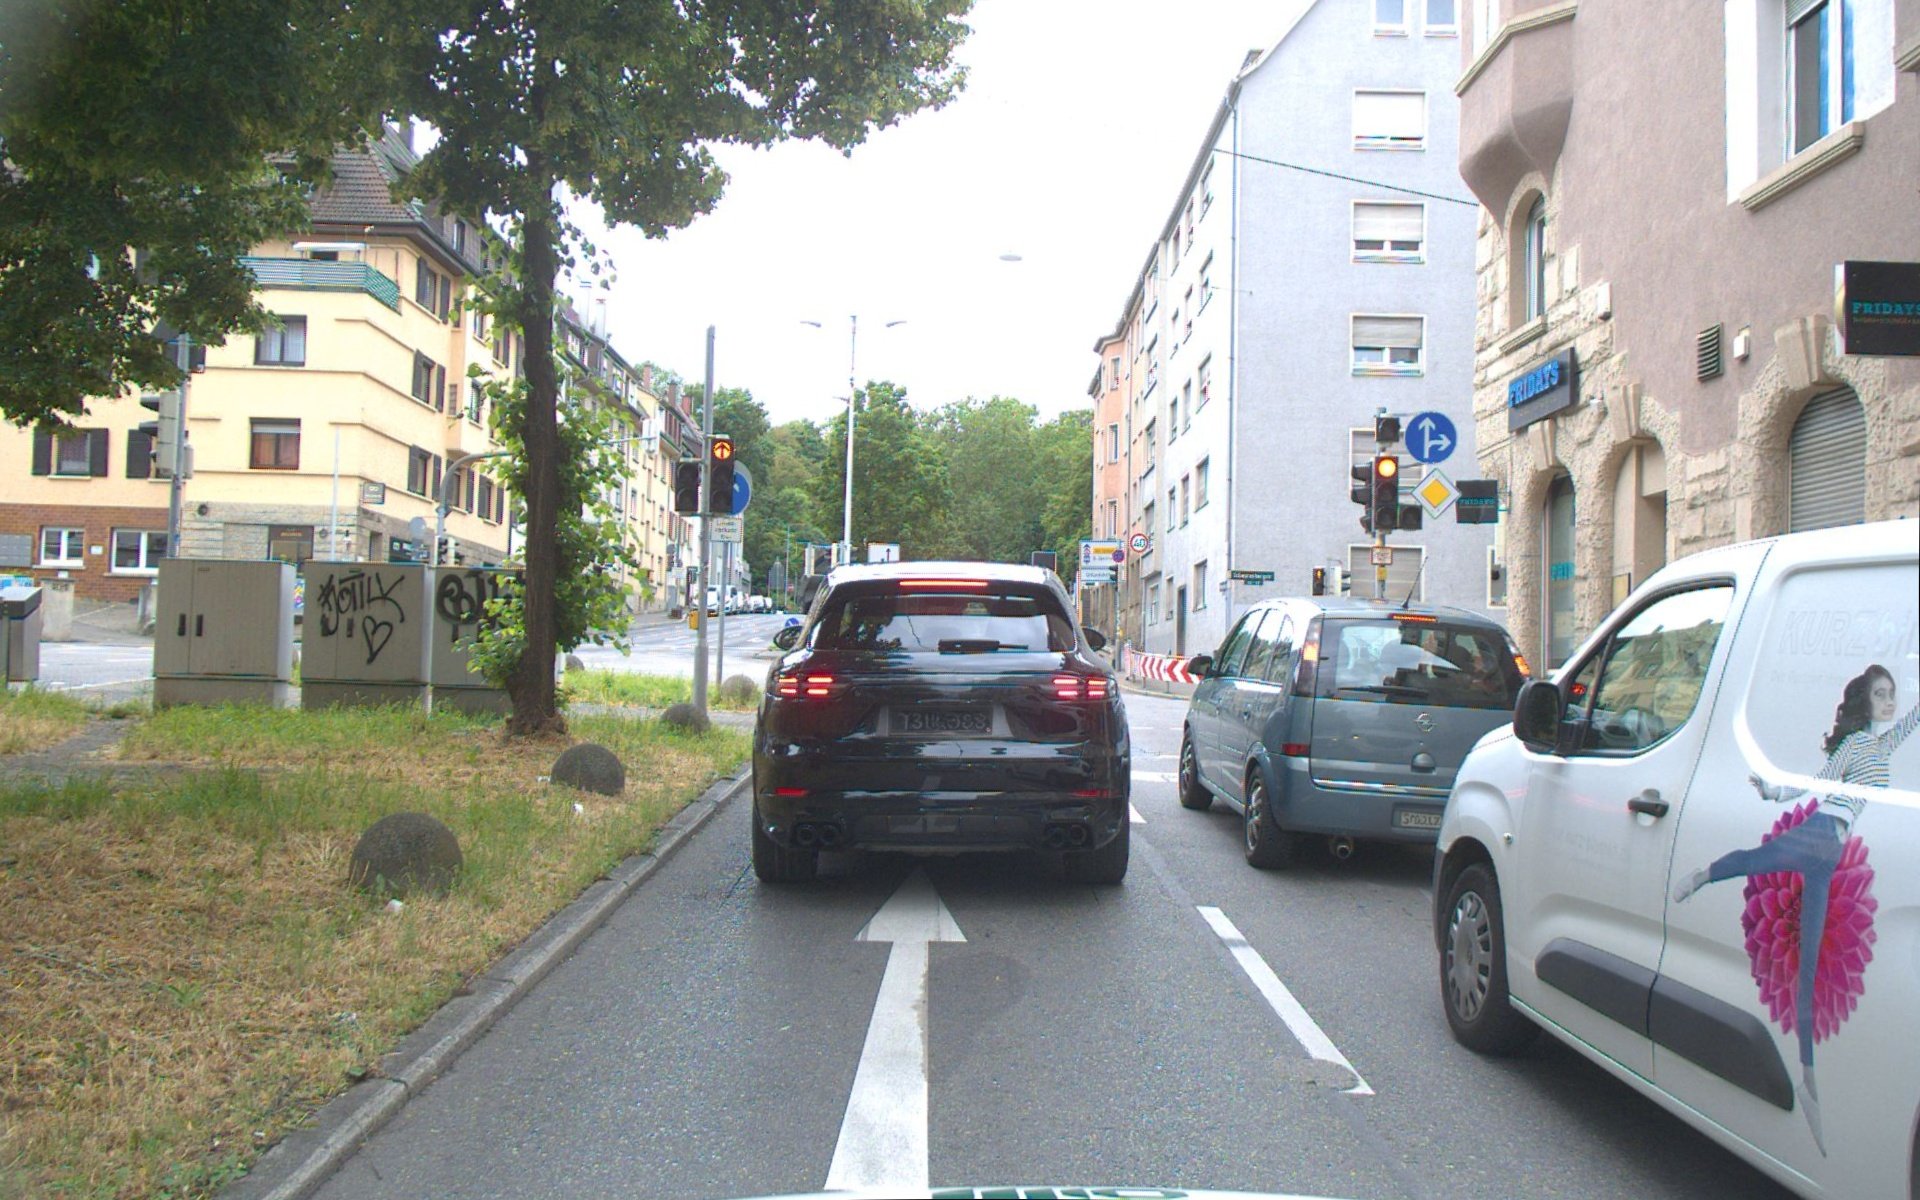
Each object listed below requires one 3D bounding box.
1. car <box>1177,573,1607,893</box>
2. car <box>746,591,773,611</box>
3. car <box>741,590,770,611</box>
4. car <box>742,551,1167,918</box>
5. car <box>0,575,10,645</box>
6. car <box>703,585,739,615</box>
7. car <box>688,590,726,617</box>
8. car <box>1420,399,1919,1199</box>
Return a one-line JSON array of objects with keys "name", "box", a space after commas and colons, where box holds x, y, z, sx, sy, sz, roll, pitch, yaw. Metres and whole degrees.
[{"name": "car", "box": [2.597, 0.733, 10.835, 1.717, 1.621, 3.629, 4, 0, -1]}, {"name": "car", "box": [-16.037, 0.032, 132.465, 1.758, 1.536, 3.999, 2, 0, -1]}, {"name": "car", "box": [-15.744, 0.057, 127.572, 1.758, 1.536, 3.999, 2, 0, -1]}, {"name": "car", "box": [-0.001, 0.602, 9.672, 1.953, 1.681, 4.000, 1, 1, 1]}, {"name": "car", "box": [-25.337, 0.216, 40.641, 3.916, 1.694, 1.877, 0, -2, 33]}, {"name": "car", "box": [-15.321, 0.006, 106.195, 1.758, 1.841, 3.999, 2, 0, -1]}, {"name": "car", "box": [-15.478, 0.195, 101.167, 1.758, 1.536, 3.999, 2, 0, -1]}, {"name": "car", "box": [2.732, 0.636, 4.489, 1.811, 1.857, 5.022, 2, -1, 4]}]
